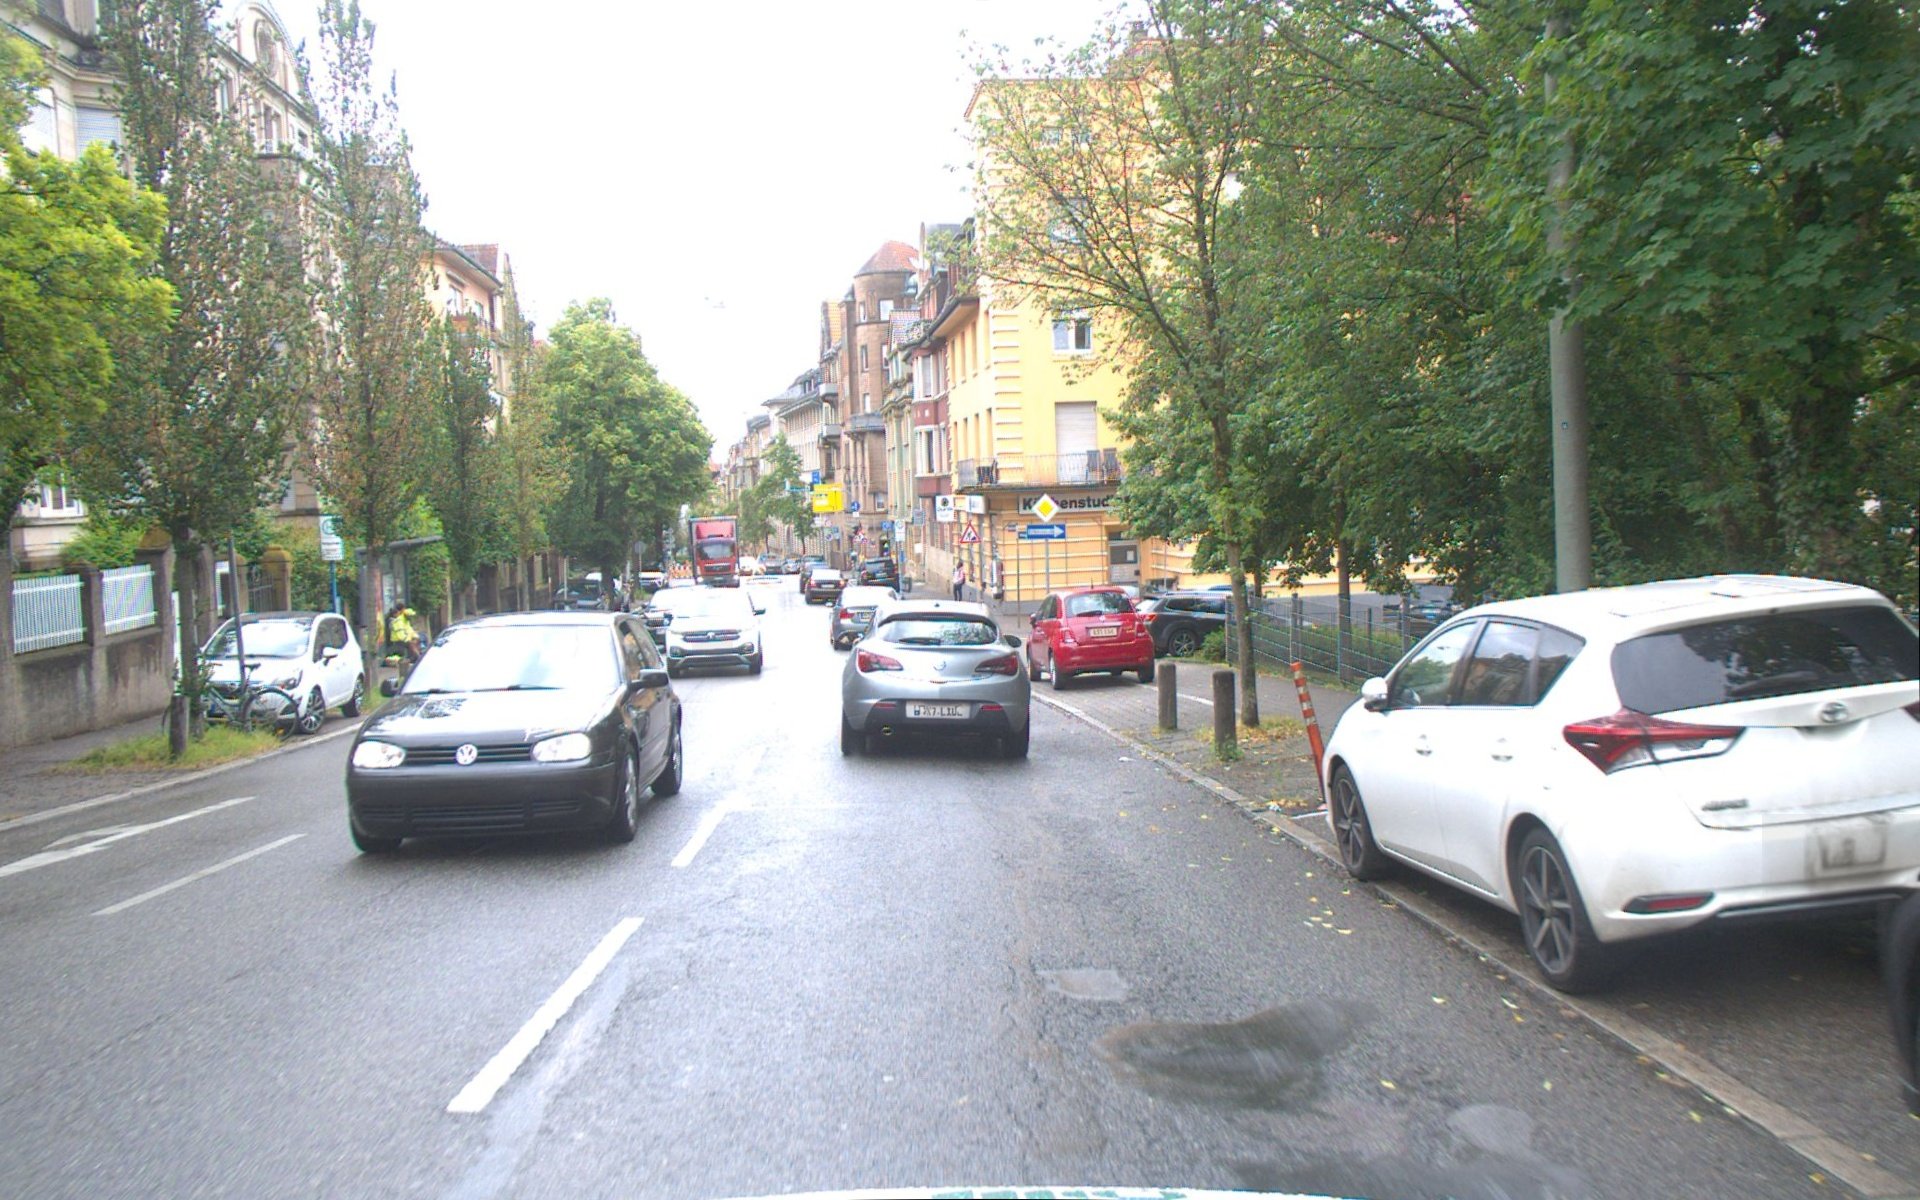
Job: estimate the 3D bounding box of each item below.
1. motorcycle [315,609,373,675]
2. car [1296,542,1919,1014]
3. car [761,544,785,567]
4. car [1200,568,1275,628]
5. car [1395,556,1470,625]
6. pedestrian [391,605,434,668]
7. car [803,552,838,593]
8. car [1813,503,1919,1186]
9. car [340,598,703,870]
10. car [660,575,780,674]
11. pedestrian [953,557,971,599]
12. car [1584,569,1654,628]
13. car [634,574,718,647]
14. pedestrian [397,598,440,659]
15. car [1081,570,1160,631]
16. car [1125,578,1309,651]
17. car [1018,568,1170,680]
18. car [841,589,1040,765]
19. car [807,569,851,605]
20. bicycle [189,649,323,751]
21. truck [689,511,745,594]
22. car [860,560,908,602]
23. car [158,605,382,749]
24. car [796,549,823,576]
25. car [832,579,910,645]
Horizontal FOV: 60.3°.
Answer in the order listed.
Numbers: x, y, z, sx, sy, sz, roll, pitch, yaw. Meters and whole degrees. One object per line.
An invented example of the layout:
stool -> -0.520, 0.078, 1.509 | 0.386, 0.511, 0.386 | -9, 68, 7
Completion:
motorcycle -> -12.384, 0.820, 33.285 | 0.548, 1.259, 1.643 | -3, 0, -2
car -> 3.138, 0.585, 7.699 | 1.938, 1.477, 4.110 | -5, 0, -4
car -> -16.302, -3.877, 144.314 | 1.750, 1.887, 3.989 | -1, 0, -11
car -> 7.685, -0.076, 45.621 | 1.738, 1.454, 3.790 | 0, 3, 14
car -> 12.903, -0.299, 45.049 | 1.739, 1.695, 3.788 | 0, 3, 19
pedestrian -> -12.653, 0.844, 38.238 | 0.693, 1.366, 0.613 | -5, 1, -3
car -> -6.898, -1.384, 81.366 | 1.608, 1.718, 3.714 | -2, 5, -6
car -> 3.250, 0.510, 2.023 | 1.936, 1.637, 4.484 | -4, 0, -1
car -> -2.813, 0.770, 11.457 | 1.628, 1.473, 3.990 | -2, 0, -4
car -> -4.541, 0.411, 31.767 | 1.786, 1.679, 3.998 | -3, 1, -2
pedestrian -> 0.055, -0.825, 61.177 | 0.601, 1.522, 0.552 | -2, 3, -3
car -> 18.331, -0.068, 46.117 | 1.739, 1.454, 3.787 | 0, 3, 21
car -> -7.065, 0.236, 41.430 | 1.590, 1.679, 3.142 | -3, 1, -2
pedestrian -> -12.731, 0.669, 38.879 | 0.693, 1.366, 0.613 | -5, 1, -3
car -> 4.304, -0.017, 43.910 | 1.738, 1.454, 3.790 | 0, 2, 10
car -> 5.705, 0.321, 36.958 | 3.701, 1.455, 1.779 | 2, -1, -7
car -> 2.093, 0.372, 26.938 | 1.780, 1.492, 3.997 | -6, 0, -4
car -> -0.255, 0.684, 17.039 | 1.778, 1.454, 3.999 | -1, 2, -2
car -> -5.450, -0.546, 68.723 | 1.733, 1.439, 3.712 | 0, 1, -6
bicycle -> -9.054, 1.274, 21.289 | 1.436, 1.140, 0.380 | -6, 1, -9
truck -> -13.421, -2.748, 91.752 | 2.737, 4.203, 10.836 | -2, 3, -7
car -> -3.604, -0.901, 77.918 | 1.956, 1.717, 3.996 | -7, 1, -5
car -> -9.824, 1.019, 23.913 | 1.754, 1.679, 4.190 | -5, 1, -7
car -> -9.358, -2.325, 102.701 | 1.608, 1.563, 3.712 | -2, 1, -6
car -> -2.104, 0.253, 38.679 | 1.741, 1.455, 3.783 | 0, 0, -4
